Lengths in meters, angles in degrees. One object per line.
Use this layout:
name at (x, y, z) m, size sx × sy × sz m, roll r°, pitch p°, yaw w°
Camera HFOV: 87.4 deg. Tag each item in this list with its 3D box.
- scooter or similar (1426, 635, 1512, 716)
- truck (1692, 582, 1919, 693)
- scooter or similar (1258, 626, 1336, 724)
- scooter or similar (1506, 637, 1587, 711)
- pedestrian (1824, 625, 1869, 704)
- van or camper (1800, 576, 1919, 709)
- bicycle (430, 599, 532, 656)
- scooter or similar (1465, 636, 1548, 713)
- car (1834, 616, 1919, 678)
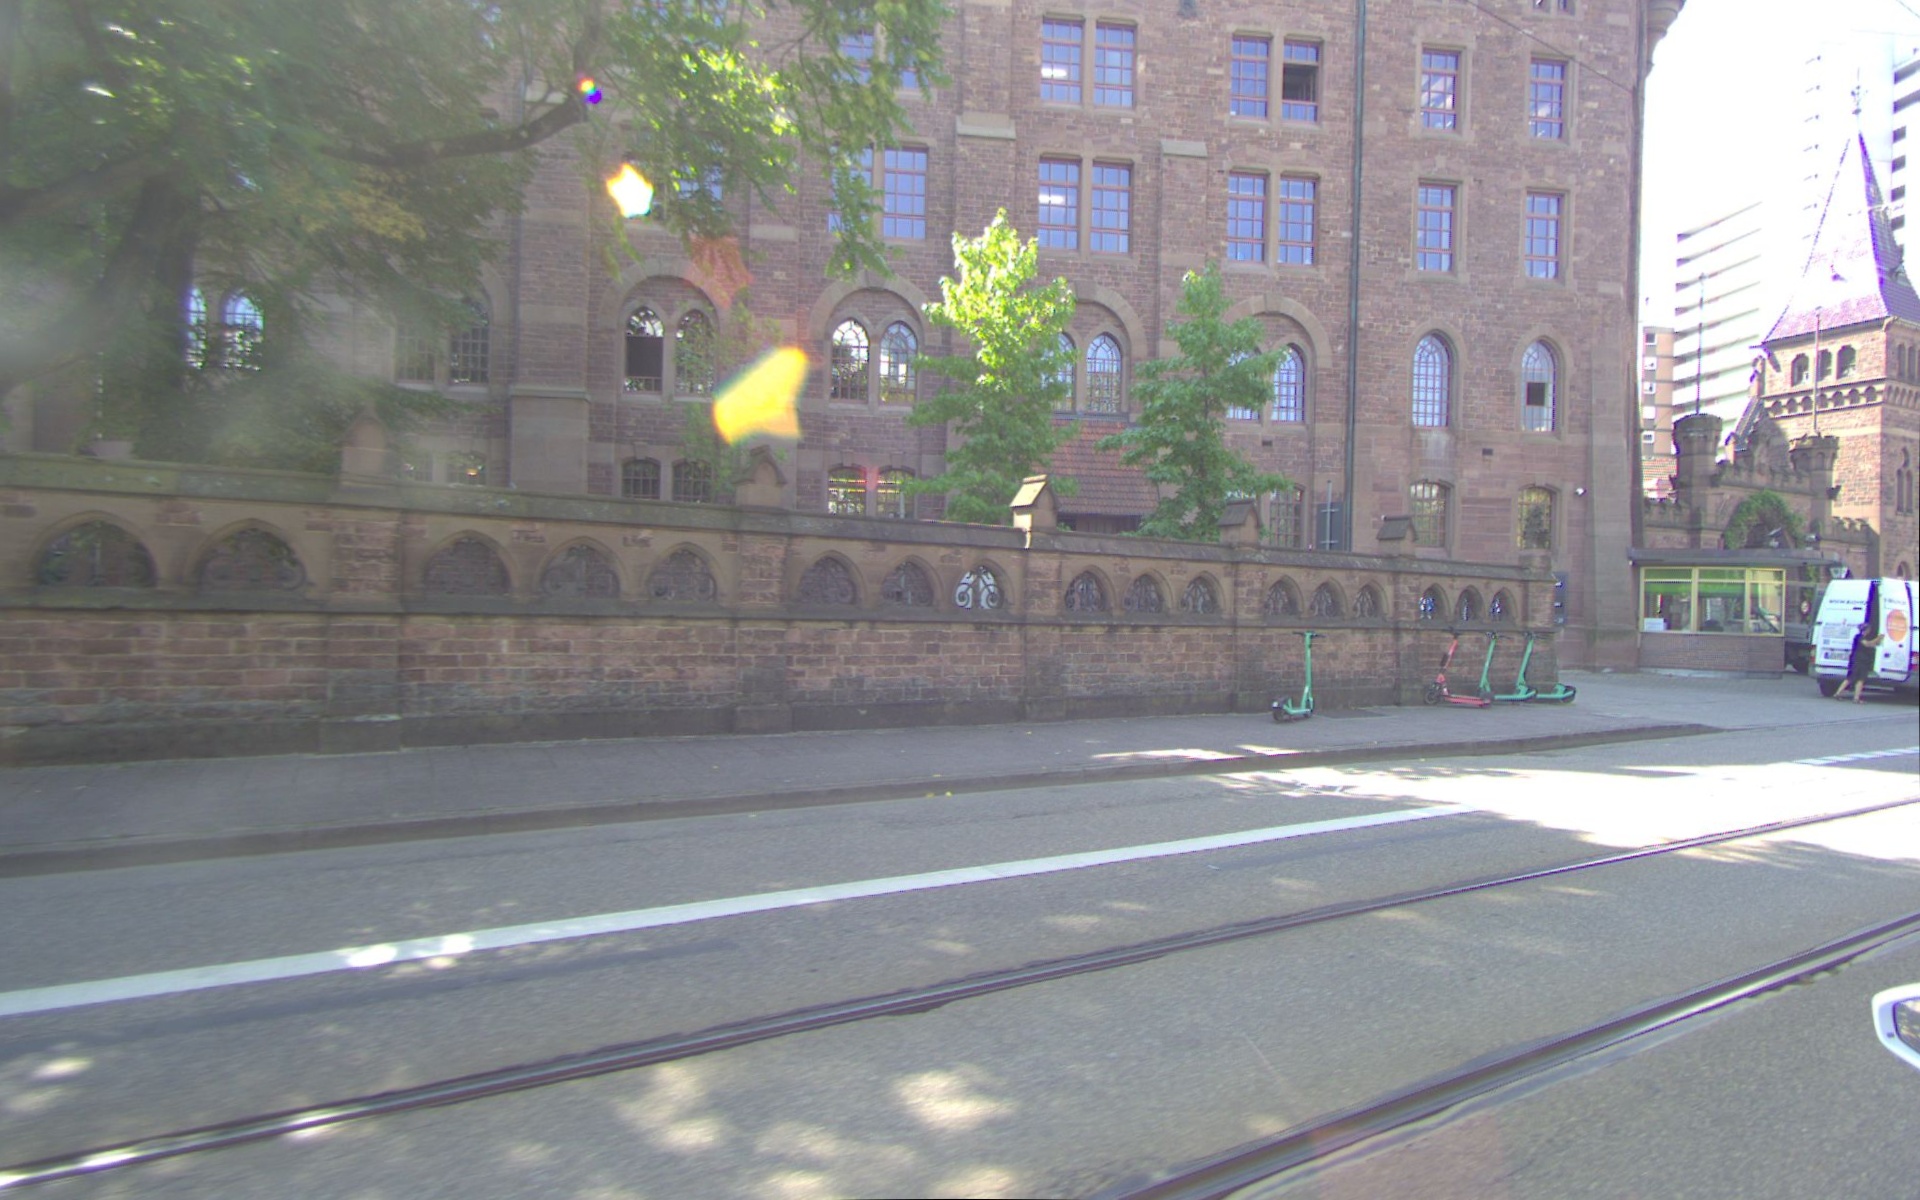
scooter or similar at (7.904, 1.169, 15.604) m, size 1.156 × 1.194 × 0.340 m, roll 2°, pitch 0°, yaw -5°
truck at (24.461, 0.953, 27.937) m, size 2.102 × 2.573 × 6.300 m, roll 0°, pitch 3°, yaw -25°
scooter or similar at (4.423, 0.955, 13.132) m, size 0.416 × 1.194 × 1.309 m, roll 2°, pitch 0°, yaw 44°
scooter or similar at (9.823, 1.236, 16.839) m, size 1.156 × 1.194 × 0.340 m, roll 2°, pitch 0°, yaw -5°
pedestrian at (18.880, 1.366, 21.406) m, size 0.541 × 1.620 × 0.498 m, roll 2°, pitch 0°, yaw 21°
van or camper at (21.805, 0.948, 22.890) m, size 5.883 × 2.711 × 2.103 m, roll 2°, pitch 0°, yaw -29°
bicycle at (-10.117, 0.557, 21.349) m, size 0.883 × 1.111 × 2.688 m, roll 2°, pitch 0°, yaw -1°
scooter or similar at (8.854, 1.202, 16.277) m, size 1.156 × 1.194 × 0.340 m, roll 2°, pitch 0°, yaw -5°
car at (30.401, 1.547, 31.416) m, size 1.976 × 1.767 × 4.117 m, roll 2°, pitch 3°, yaw -29°
